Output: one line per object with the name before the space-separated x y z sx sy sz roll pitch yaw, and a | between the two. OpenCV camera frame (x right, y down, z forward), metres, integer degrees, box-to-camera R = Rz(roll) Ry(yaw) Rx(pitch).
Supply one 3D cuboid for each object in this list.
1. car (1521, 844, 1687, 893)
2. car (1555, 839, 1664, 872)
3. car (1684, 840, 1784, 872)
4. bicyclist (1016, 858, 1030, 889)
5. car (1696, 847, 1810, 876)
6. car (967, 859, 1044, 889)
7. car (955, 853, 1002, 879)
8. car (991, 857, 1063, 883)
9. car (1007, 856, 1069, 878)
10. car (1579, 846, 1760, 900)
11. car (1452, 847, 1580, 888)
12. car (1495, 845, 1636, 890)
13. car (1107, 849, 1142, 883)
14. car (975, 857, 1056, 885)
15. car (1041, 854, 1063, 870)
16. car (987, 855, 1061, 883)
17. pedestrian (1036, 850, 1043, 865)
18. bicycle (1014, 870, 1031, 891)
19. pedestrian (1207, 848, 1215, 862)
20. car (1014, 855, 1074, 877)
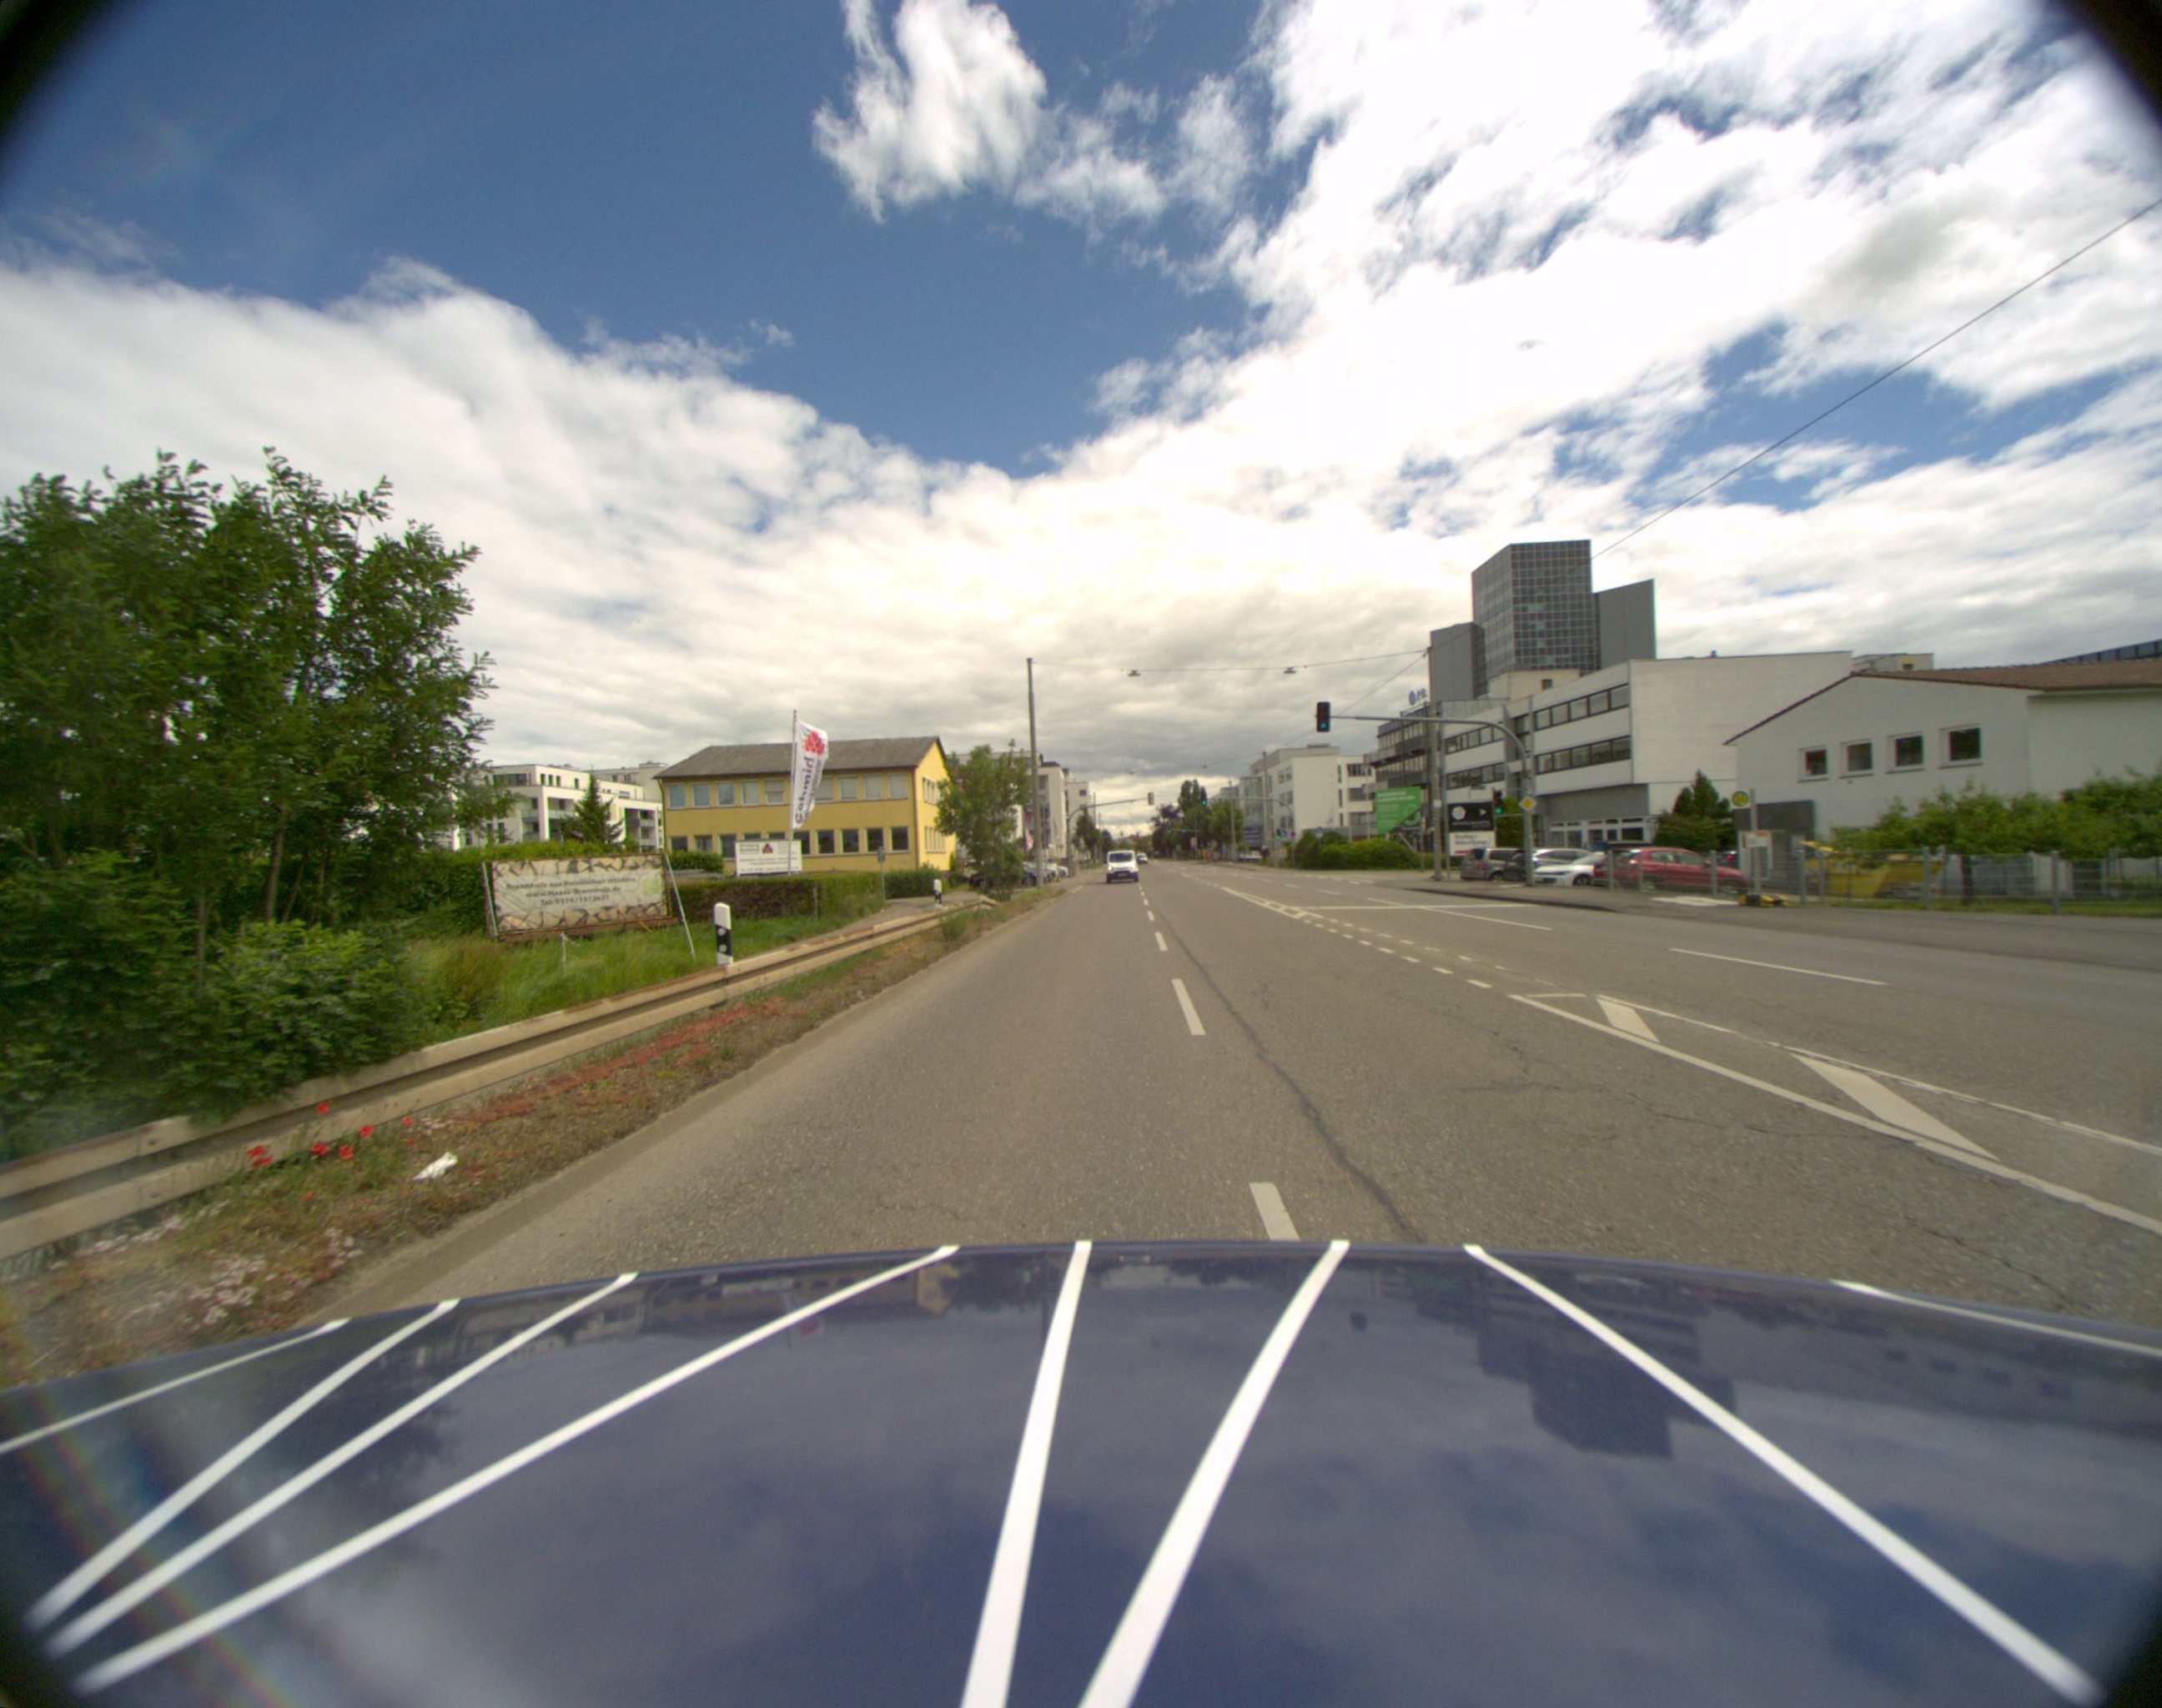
car | 17.684 0.469 25.843 4.235 1.379 1.983 3 1 -3
car | 30.907 0.056 44.593 4.764 1.783 2.170 0 3 5
car | 37.942 0.101 44.248 3.996 1.696 2.000 1 1 3
bicyclist | -3.239 1.063 42.223 0.639 1.666 0.890 1 1 3
car | 33.088 0.378 37.482 3.935 1.411 1.811 0 -1 3
car | -4.555 1.183 46.383 4.332 1.391 2.003 -5 2 1
car | -8.087 0.919 60.735 1.979 1.811 5.034 -2 1 13
car | -3.832 1.124 54.626 4.811 1.471 2.032 -4 0 5
car | -3.356 1.017 60.282 4.670 1.485 2.035 -3 0 3
car | 17.909 0.543 23.260 3.997 1.362 1.848 3 1 1
car | 17.523 0.547 30.724 4.104 1.390 1.907 3 0 -4
car | 17.977 0.475 28.341 3.997 1.417 1.855 3 1 1
car | 2.704 0.736 48.128 1.998 1.905 3.999 -4 1 1
car | -4.220 1.087 49.200 4.863 1.422 2.038 -5 0 4
car | -3.033 0.842 80.491 1.880 1.536 4.522 -2 0 2
car | -3.852 1.013 51.843 4.687 1.485 2.016 -4 0 4
pedestrian | -5.025 0.413 92.661 0.507 1.755 0.501 -4 2 20
bicycle | -3.251 1.477 42.240 0.639 1.057 1.978 1 1 4
pedestrian | 18.954 0.137 110.675 0.812 2.002 0.724 -6 2 -44
car | -3.071 0.995 63.148 4.707 1.484 2.046 -4 0 3
